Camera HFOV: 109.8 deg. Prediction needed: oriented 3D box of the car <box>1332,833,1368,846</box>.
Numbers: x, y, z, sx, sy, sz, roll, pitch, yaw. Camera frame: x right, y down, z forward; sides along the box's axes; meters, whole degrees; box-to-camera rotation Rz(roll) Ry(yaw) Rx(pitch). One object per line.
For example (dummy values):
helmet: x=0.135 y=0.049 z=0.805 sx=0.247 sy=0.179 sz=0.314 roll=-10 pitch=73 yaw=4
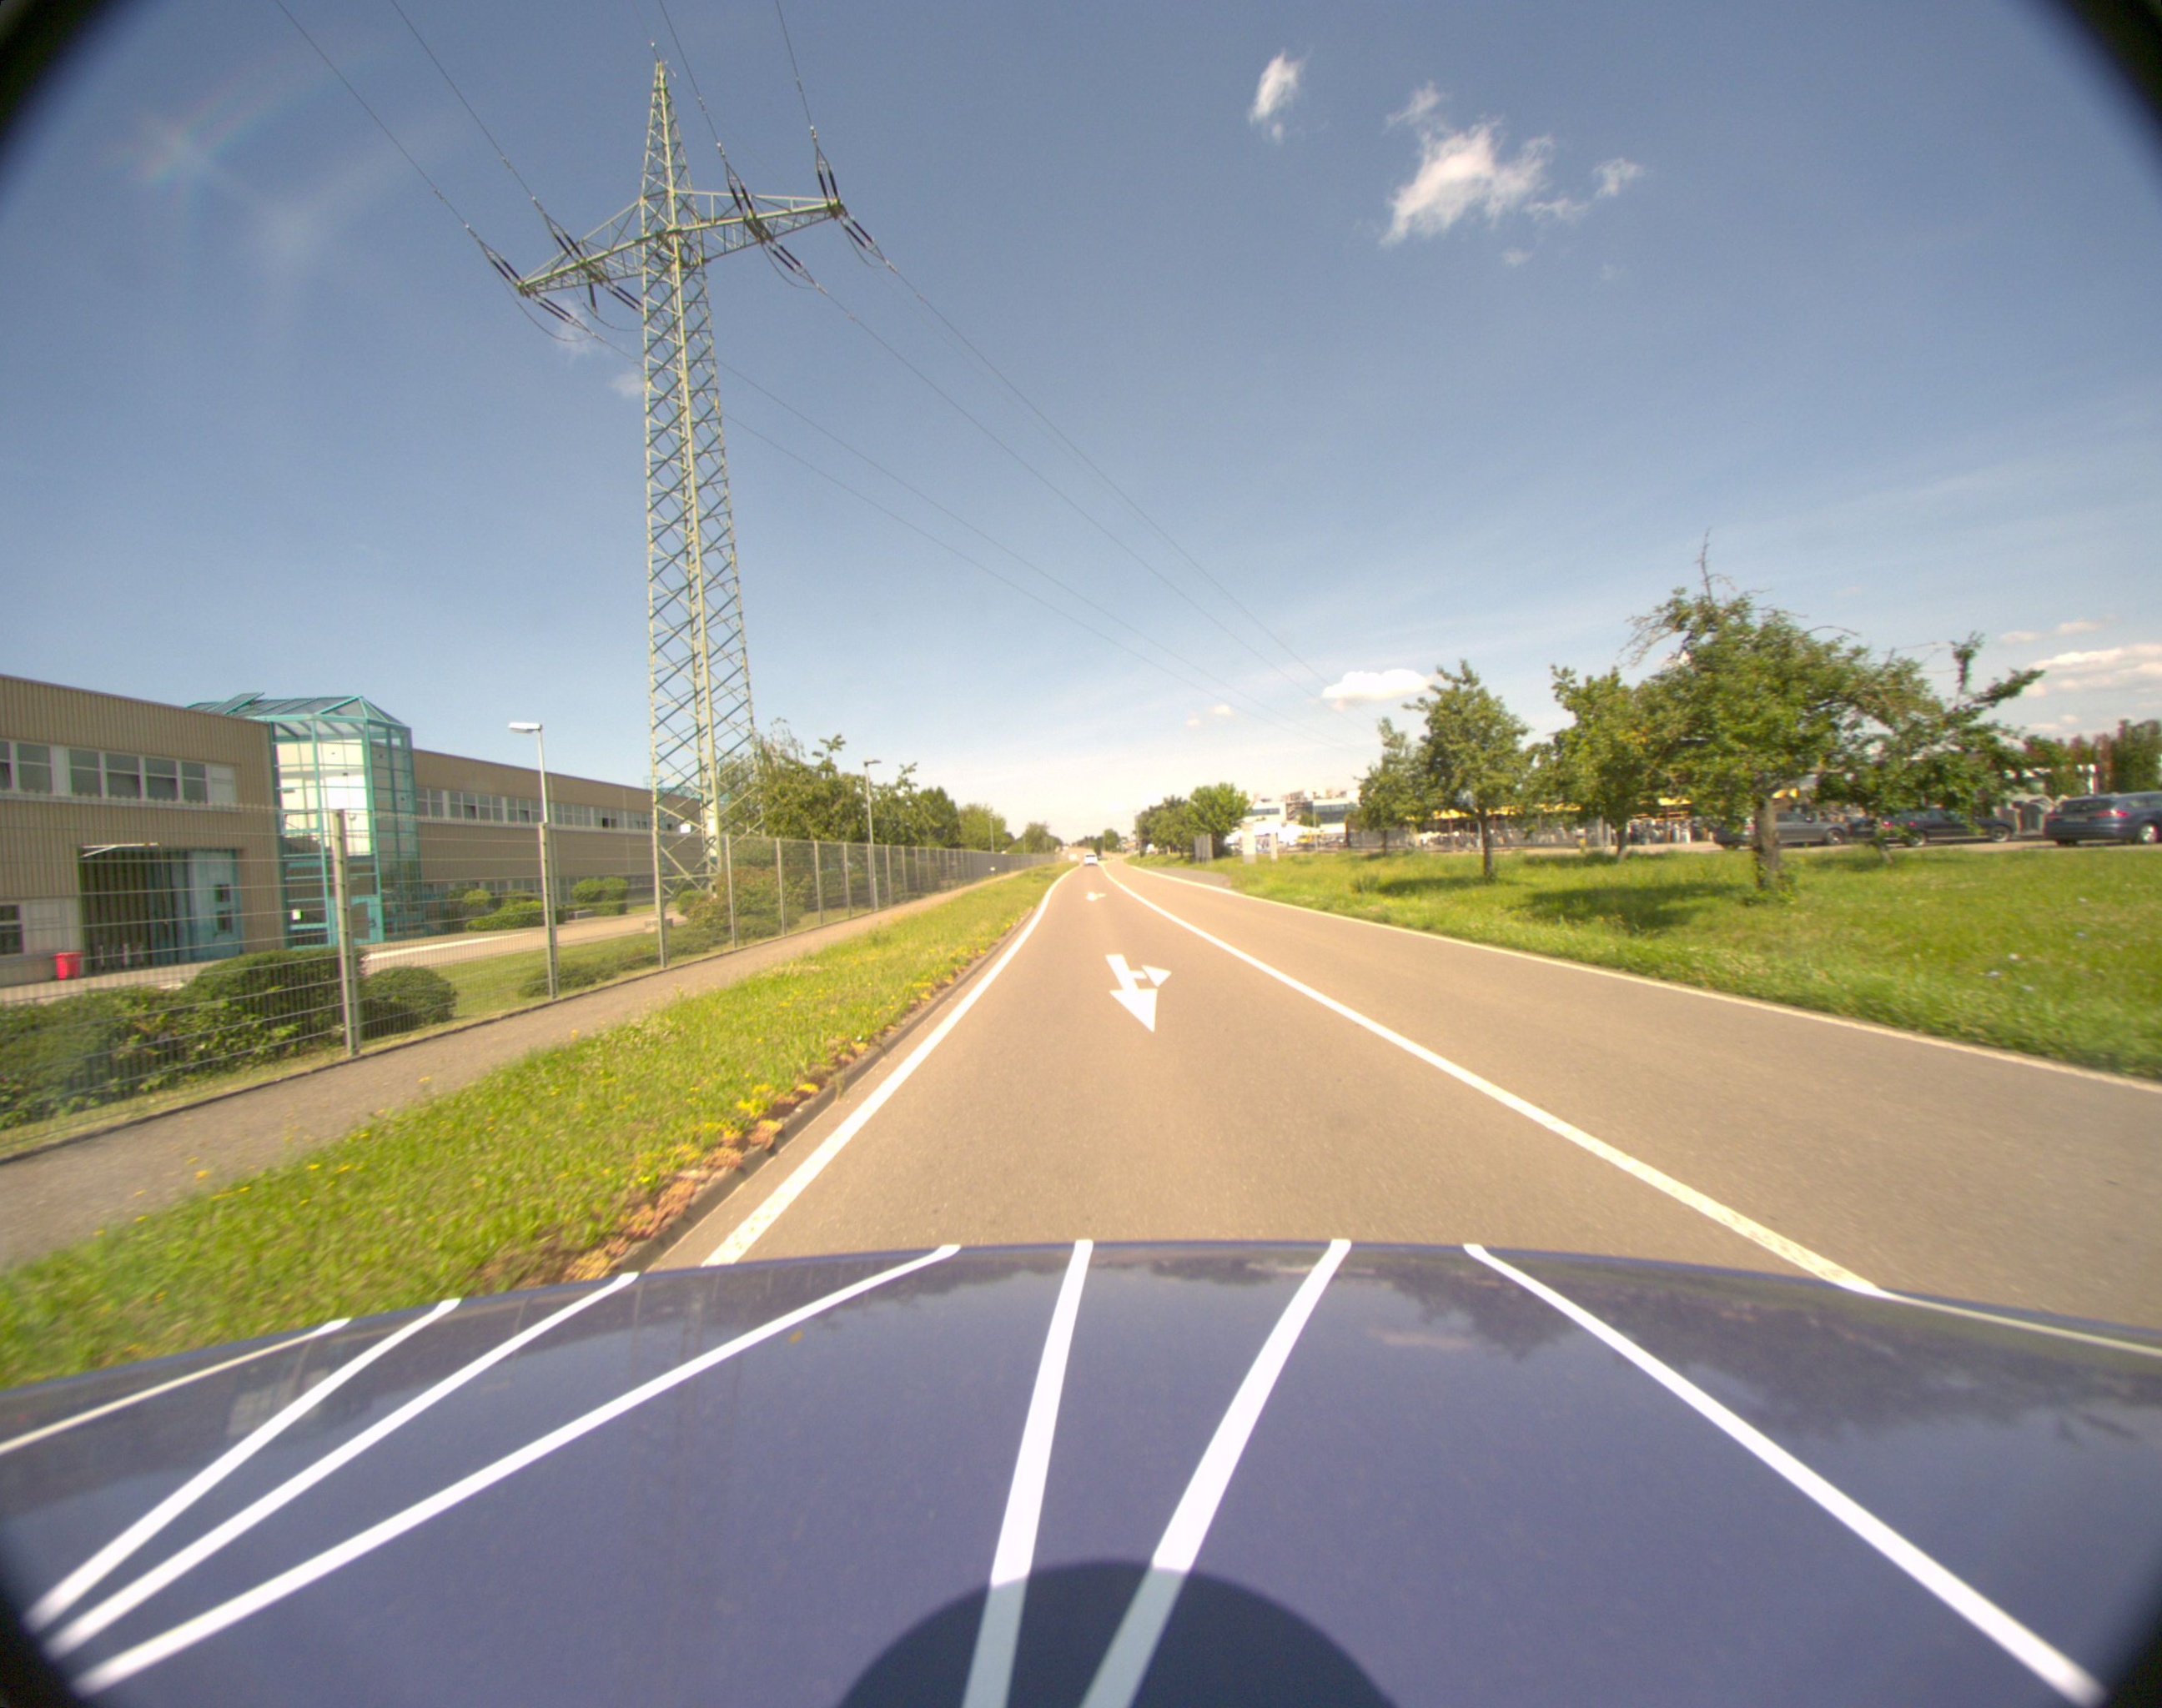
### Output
car: x=36.615 y=-2.006 z=103.443 sx=2.003 sy=1.477 sz=4.239 roll=-5 pitch=0 yaw=-31

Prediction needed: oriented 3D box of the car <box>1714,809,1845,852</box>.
car: x=30.309 y=-1.004 z=33.047 sx=3.998 sy=1.519 sz=1.999 roll=-4 pitch=0 yaw=-5

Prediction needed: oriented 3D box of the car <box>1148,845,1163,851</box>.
car: x=20.165 y=-1.665 z=205.828 sx=3.996 sy=1.510 sz=2.000 roll=-3 pitch=1 yaw=3

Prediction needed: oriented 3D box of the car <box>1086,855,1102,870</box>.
car: x=1.885 y=1.235 z=107.337 sx=1.998 sy=1.904 sz=4.000 roll=-3 pitch=1 yaw=4

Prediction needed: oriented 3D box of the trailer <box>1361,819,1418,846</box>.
trailer: x=36.952 y=-2.580 z=91.200 sx=5.578 sy=2.809 sz=2.739 roll=-4 pitch=1 yaw=-6

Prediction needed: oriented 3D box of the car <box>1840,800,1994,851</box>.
car: x=30.527 y=-1.030 z=27.807 sx=3.998 sy=1.546 sz=1.665 roll=-4 pitch=1 yaw=-5

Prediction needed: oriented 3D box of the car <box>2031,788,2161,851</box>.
car: x=30.774 y=-1.048 z=22.100 sx=3.998 sy=1.630 sz=1.999 roll=-4 pitch=0 yaw=-5
